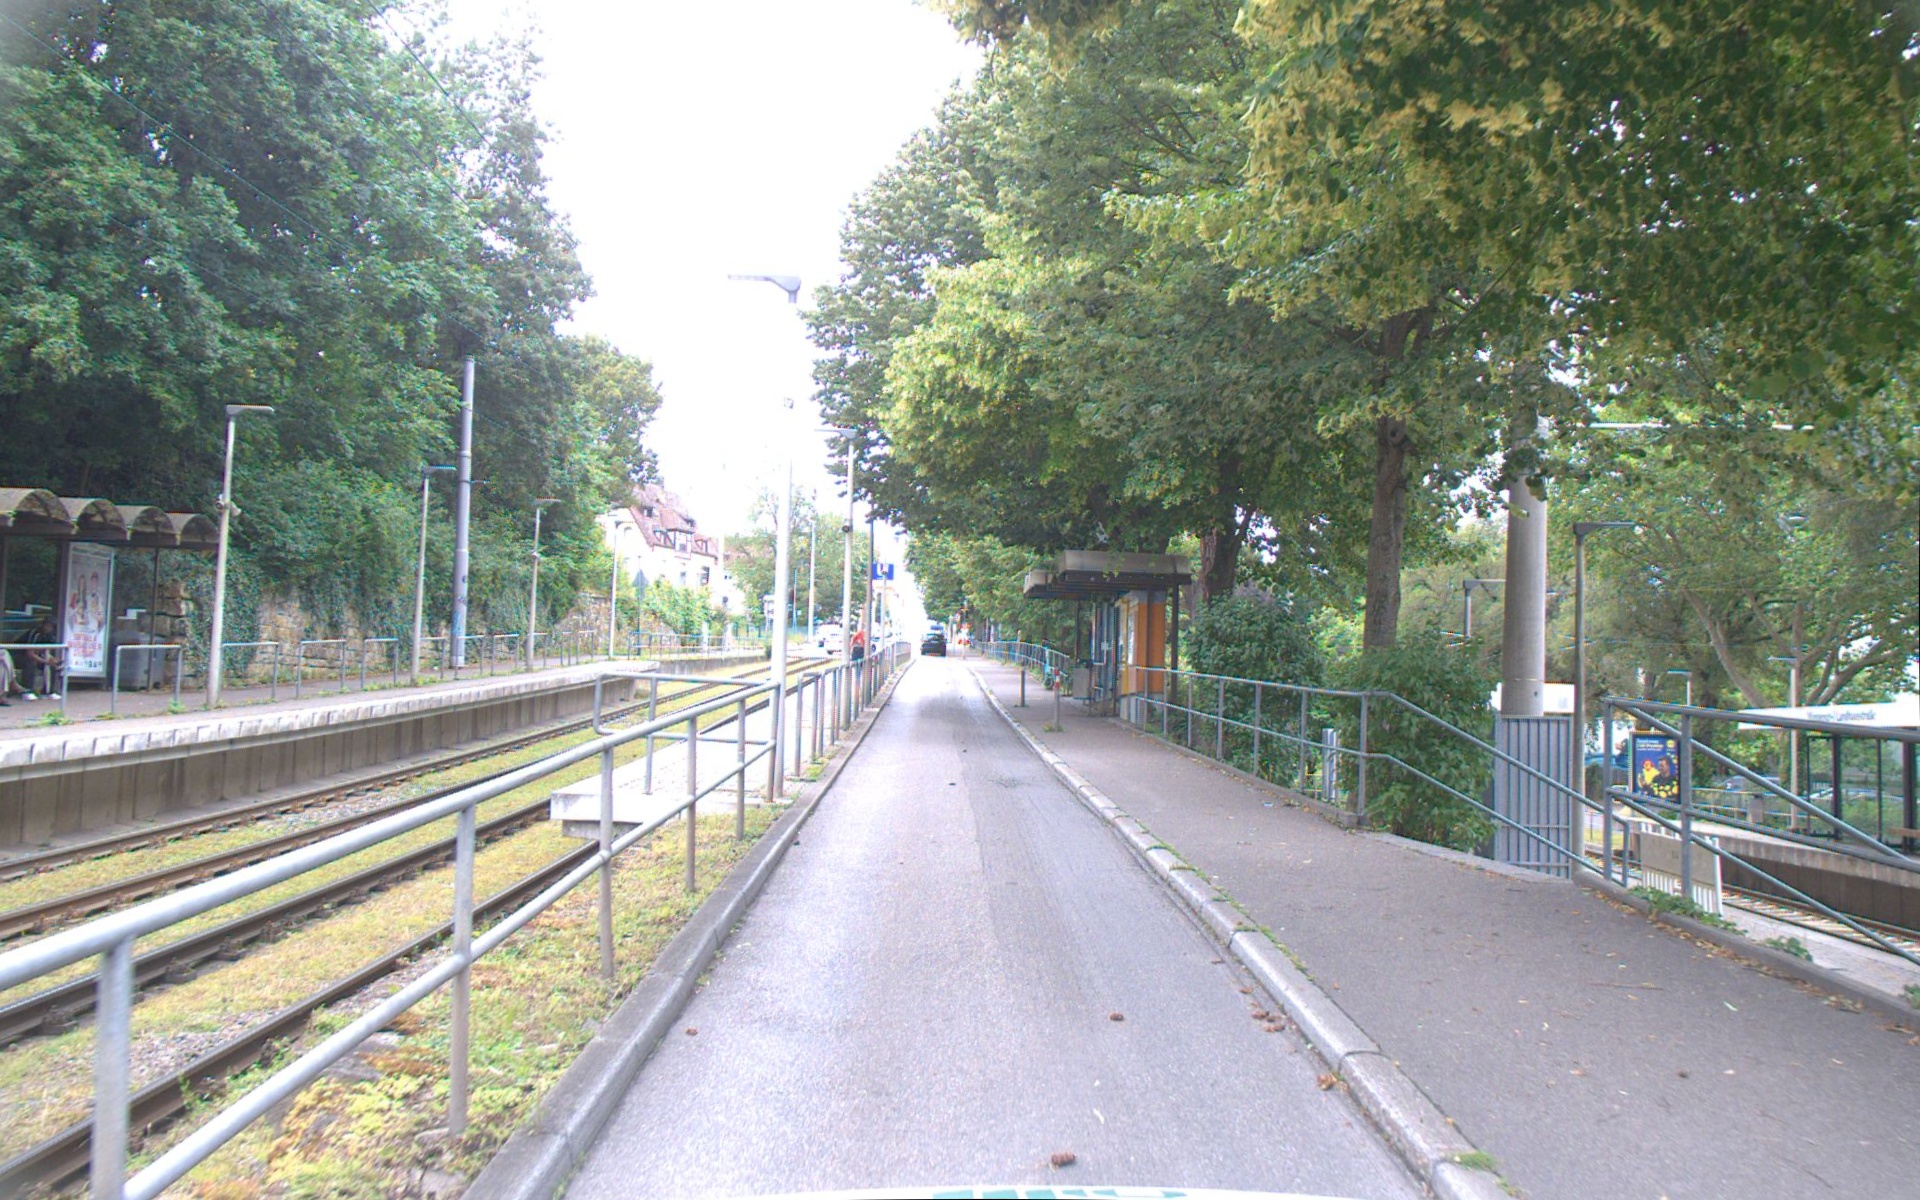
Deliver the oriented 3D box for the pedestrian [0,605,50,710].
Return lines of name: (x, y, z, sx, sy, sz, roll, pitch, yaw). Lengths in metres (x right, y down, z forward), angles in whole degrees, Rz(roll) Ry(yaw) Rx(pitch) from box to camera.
pedestrian: (-12.854, 0.758, 22.158, 0.756, 1.349, 0.787, 5, -2, -1)

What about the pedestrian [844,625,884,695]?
pedestrian: (-2.065, 1.287, 35.748, 0.727, 1.434, 0.746, 5, 0, -1)

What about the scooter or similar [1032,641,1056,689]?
scooter or similar: (2.151, 1.675, 42.250, 0.336, 1.177, 1.144, 5, -4, -7)

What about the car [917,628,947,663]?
car: (-2.019, 3.298, 118.762, 1.954, 2.183, 3.998, 5, -4, -1)

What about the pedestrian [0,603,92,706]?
pedestrian: (-12.852, 0.778, 23.223, 0.756, 1.349, 0.786, 5, -4, -1)
